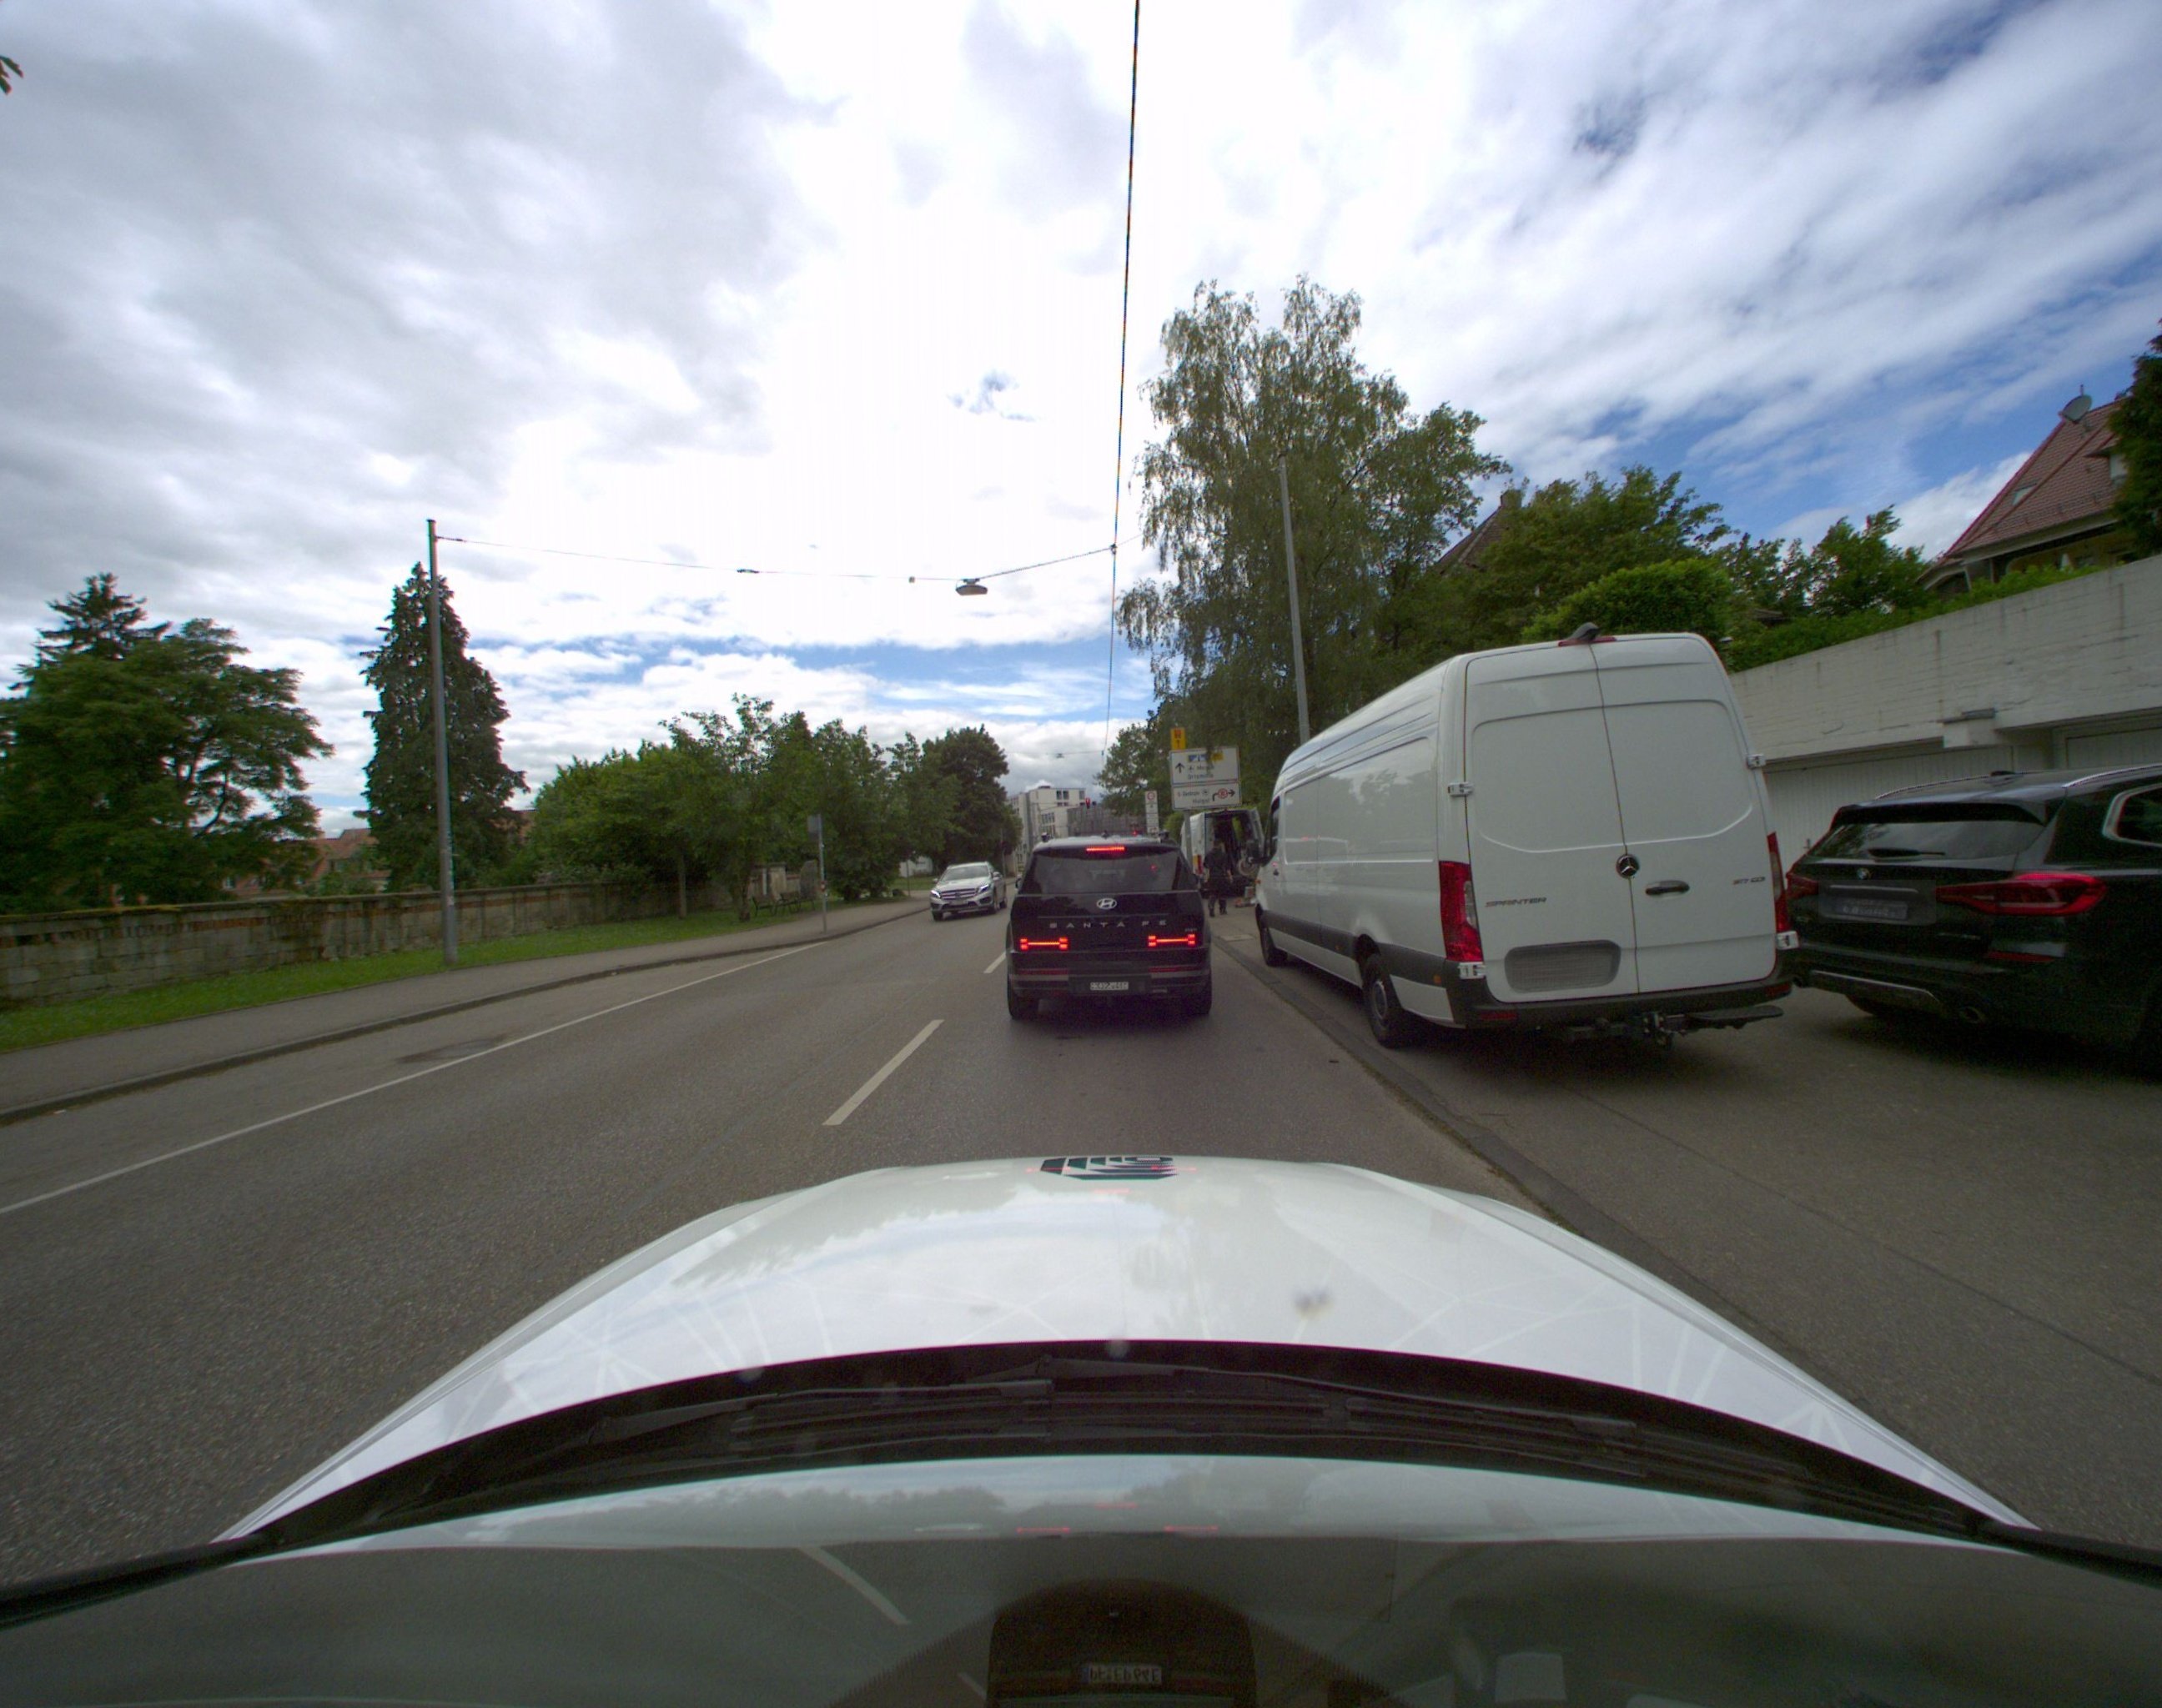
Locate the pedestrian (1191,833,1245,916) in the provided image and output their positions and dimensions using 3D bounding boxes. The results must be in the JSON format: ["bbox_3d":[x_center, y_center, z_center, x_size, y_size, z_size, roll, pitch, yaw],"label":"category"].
[{"bbox_3d":[3.095,0.459,18.383,0.750,1.797,0.878,-3,-1,40],"label":"pedestrian"}]

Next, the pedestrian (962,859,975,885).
[{"bbox_3d":[-7.613,1.204,55.122,0.737,1.715,0.791,-3,0,-5],"label":"pedestrian"}]

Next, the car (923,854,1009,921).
[{"bbox_3d":[-3.292,0.903,24.051,1.779,1.653,4.120,-6,0,0],"label":"car"}]

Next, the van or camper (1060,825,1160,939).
[{"bbox_3d":[0.606,0.525,17.157,1.748,2.013,4.002,-3,0,2],"label":"van or camper"}]

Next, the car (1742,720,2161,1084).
[{"bbox_3d":[6.853,0.140,4.774,4.398,1.750,1.739,-3,0,3],"label":"car"}]

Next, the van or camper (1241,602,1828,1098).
[{"bbox_3d":[3.124,-0.017,7.743,1.986,2.620,6.543,-3,0,2],"label":"van or camper"}]

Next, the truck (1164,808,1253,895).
[{"bbox_3d":[4.252,-0.050,27.956,1.937,2.561,5.213,-5,-1,-1],"label":"truck"}]

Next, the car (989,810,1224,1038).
[{"bbox_3d":[0.271,0.579,8.679,1.883,1.819,4.002,-2,0,2],"label":"car"}]
